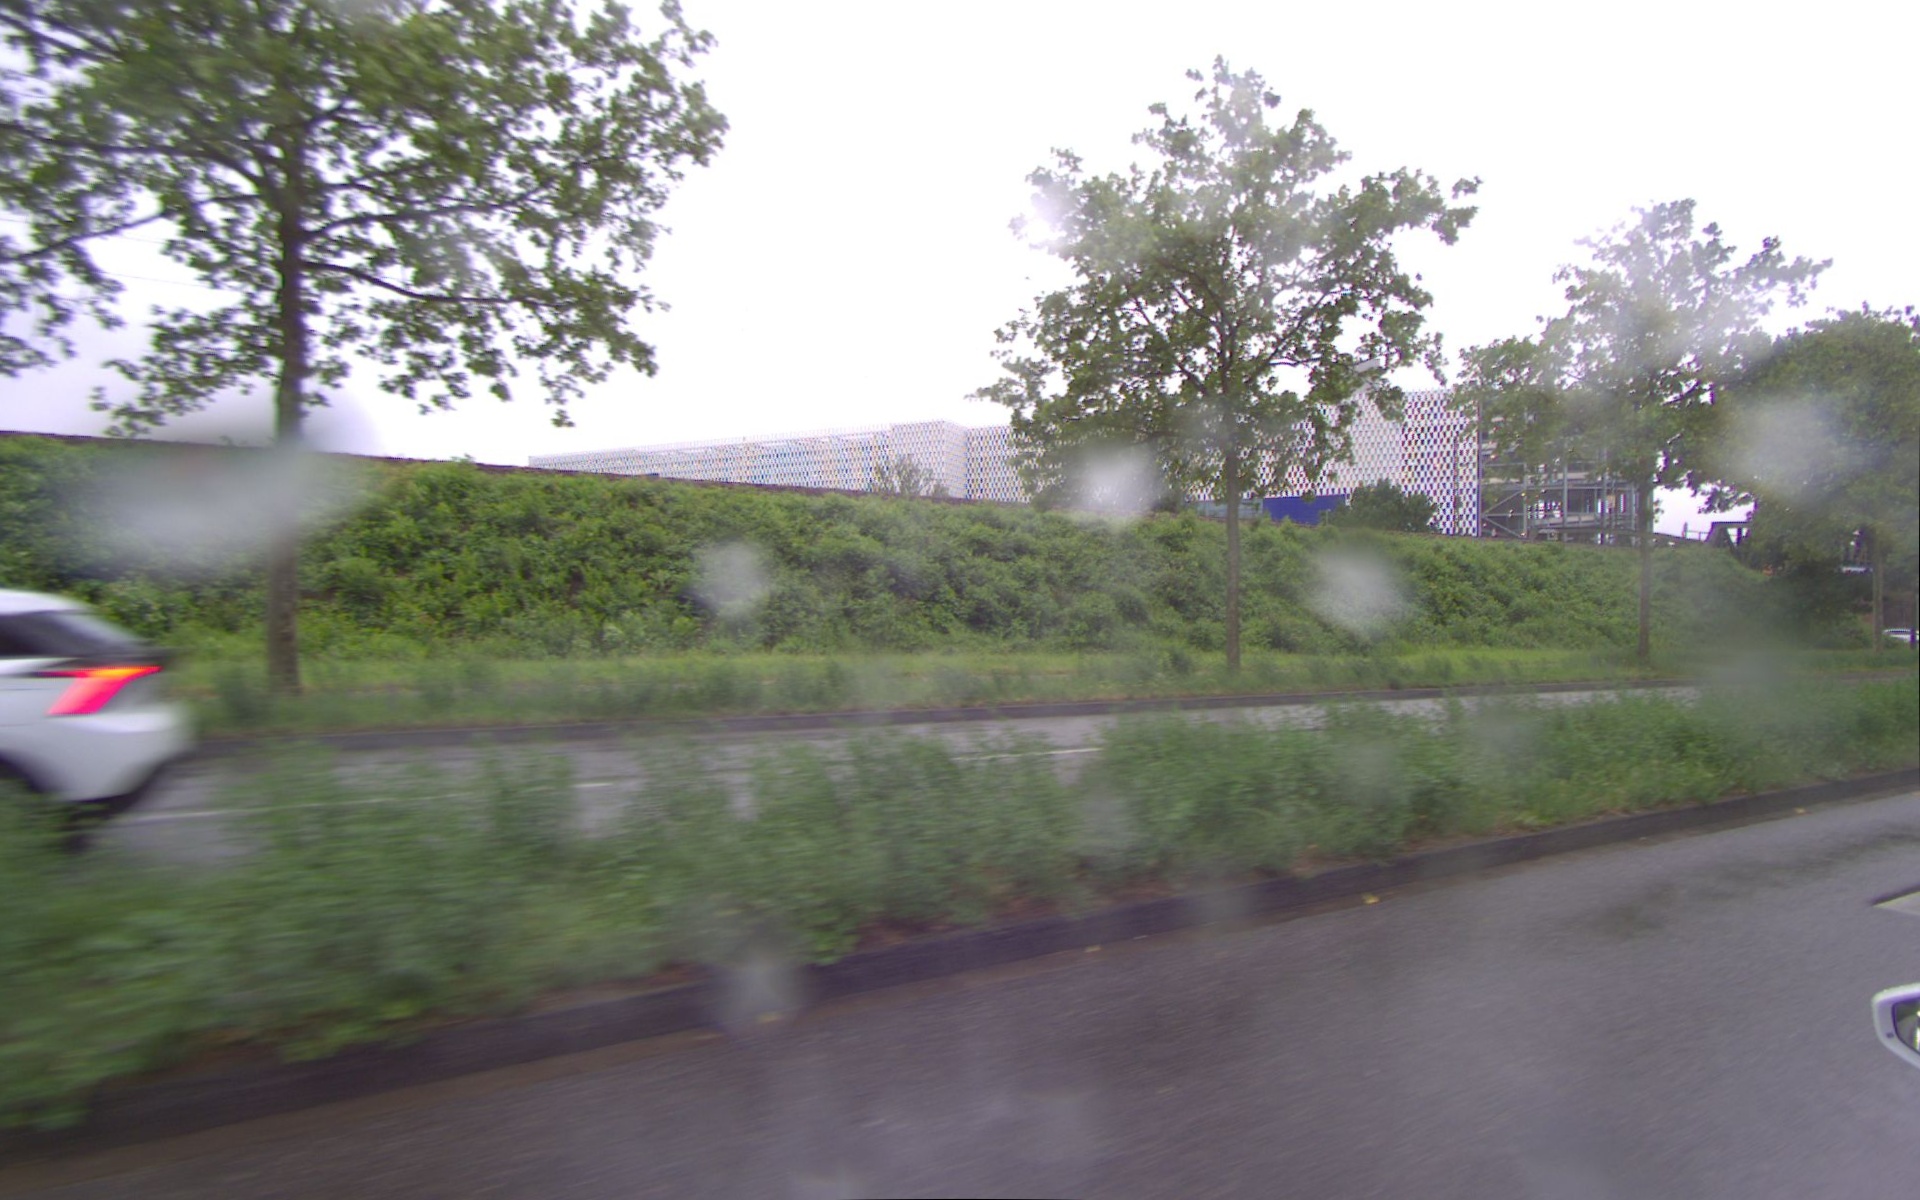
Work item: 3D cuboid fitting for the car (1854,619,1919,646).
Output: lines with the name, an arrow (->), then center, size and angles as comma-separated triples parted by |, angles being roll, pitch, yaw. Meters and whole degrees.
car -> 71.042, 2.477, 76.772 | 3.939, 1.870, 1.991 | 2, 0, 40

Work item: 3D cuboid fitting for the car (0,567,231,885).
car -> -6.156, 0.576, 4.809 | 4.156, 1.515, 1.693 | 1, 0, -31
